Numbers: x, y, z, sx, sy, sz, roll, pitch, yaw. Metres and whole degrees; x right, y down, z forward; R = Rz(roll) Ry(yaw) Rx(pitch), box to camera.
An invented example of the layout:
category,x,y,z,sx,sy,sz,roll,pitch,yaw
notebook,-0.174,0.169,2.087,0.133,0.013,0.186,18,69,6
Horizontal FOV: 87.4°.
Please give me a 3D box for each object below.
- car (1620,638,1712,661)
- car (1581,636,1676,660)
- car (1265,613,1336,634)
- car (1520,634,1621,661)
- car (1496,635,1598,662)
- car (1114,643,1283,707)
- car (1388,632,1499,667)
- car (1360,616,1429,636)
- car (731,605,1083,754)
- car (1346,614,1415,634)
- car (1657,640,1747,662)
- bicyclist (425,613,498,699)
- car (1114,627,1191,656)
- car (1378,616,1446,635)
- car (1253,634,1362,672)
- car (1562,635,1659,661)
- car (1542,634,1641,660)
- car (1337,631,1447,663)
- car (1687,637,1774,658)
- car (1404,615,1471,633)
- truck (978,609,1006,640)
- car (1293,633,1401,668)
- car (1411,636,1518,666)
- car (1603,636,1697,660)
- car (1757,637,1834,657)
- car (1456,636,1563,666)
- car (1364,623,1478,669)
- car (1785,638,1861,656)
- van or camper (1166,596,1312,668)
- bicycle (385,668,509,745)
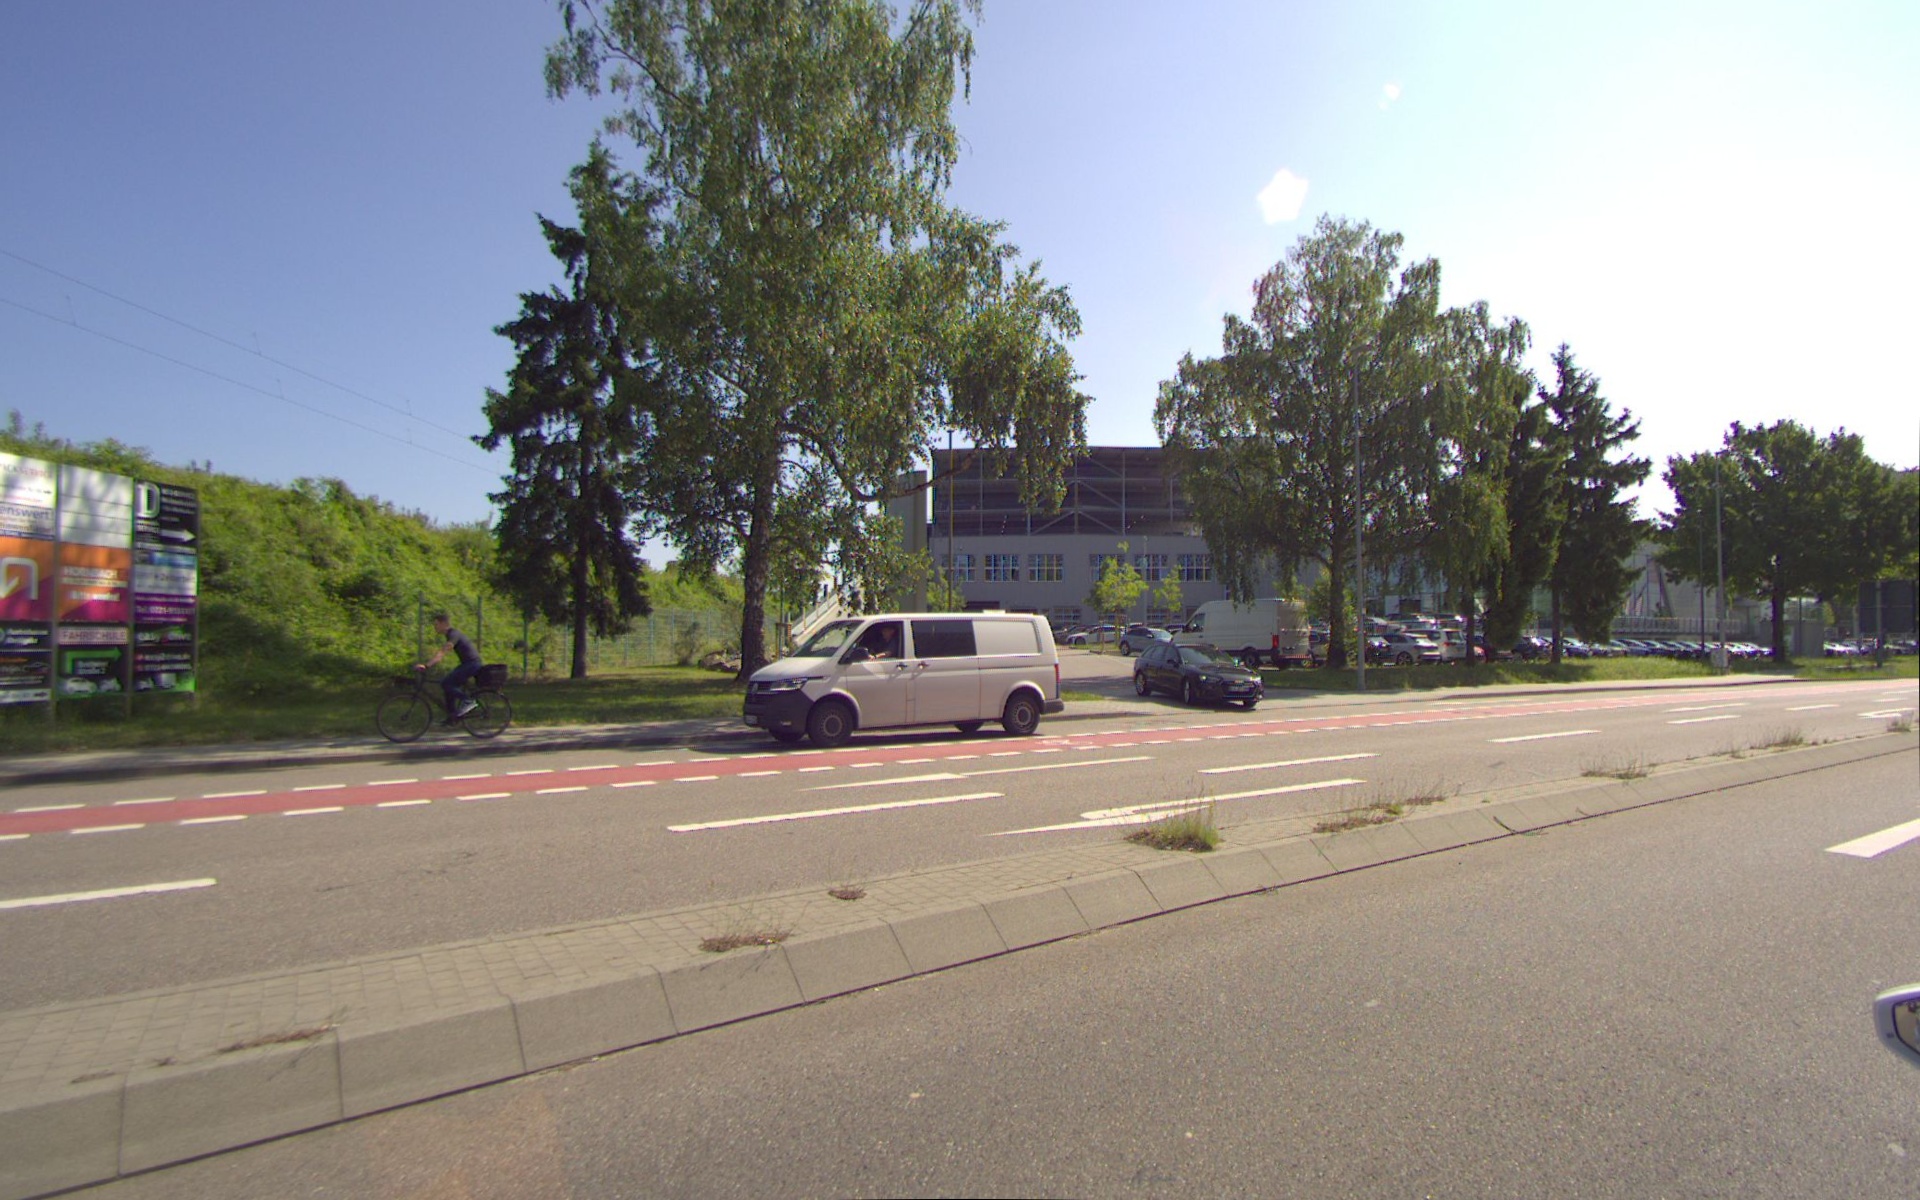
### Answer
category,x,y,z,sx,sy,sz,roll,pitch,yaw
car,43.479,3.025,61.968,1.932,1.368,4.245,1,-2,-31
car,38.940,2.770,58.600,1.932,1.368,4.245,1,-2,-31
car,22.705,1.597,67.131,1.933,1.368,4.243,1,-2,-32
car,32.890,2.538,54.210,1.932,1.368,4.245,1,-2,-31
car,30.825,2.538,52.895,1.932,1.368,4.245,1,-2,-31
car,5.825,1.786,25.181,1.969,1.432,4.663,1,-2,-18
car,22.067,2.247,46.019,1.932,1.523,4.245,1,-2,-31
car,31.581,1.908,73.078,1.933,1.368,4.243,1,-2,-32
car,-0.774,1.159,15.977,5.282,2.040,1.985,1,-3,-30
car,29.854,1.751,71.406,1.933,1.368,4.243,1,-2,-32
car,47.804,3.243,64.796,1.932,1.368,4.245,1,-2,-31
bicyclist,-7.399,0.822,14.916,0.939,1.244,0.631,1,-2,-30
car,9.763,2.112,51.200,1.722,1.372,4.072,1,-3,-28
car,33.621,1.897,74.766,1.933,1.368,4.243,1,-2,-32
car,13.952,2.098,40.530,1.722,1.457,4.071,1,-2,-28
car,37.055,2.713,57.279,1.932,1.368,4.245,1,-2,-31
car,35.020,2.579,55.826,1.932,1.368,4.245,1,-2,-31
car,18.390,1.986,42.907,1.724,1.310,4.067,1,-2,-31
car,51.539,3.158,67.284,1.932,1.368,4.245,1,-2,-31
car,35.980,1.832,75.807,1.933,1.368,4.243,1,-2,-32
truck,3.183,2.453,98.603,2.613,2.955,8.467,0,-2,2
car,15.983,2.092,41.708,1.722,1.372,4.071,2,-3,-28
car,24.136,2.410,48.180,1.932,1.345,4.245,1,-2,-31
car,41.248,2.868,60.142,1.932,1.368,4.245,1,-2,-31
car,61.295,3.433,73.769,1.979,1.394,3.964,1,-3,-33
car,26.958,2.499,49.424,1.932,1.399,4.245,1,-2,-31
car,20.354,2.007,44.479,1.932,1.909,4.245,1,-2,-31
car,66.126,3.588,76.995,2.004,1.394,4.019,1,-3,-33
van or camper,10.496,1.117,38.205,1.980,2.504,5.342,0,1,-35
bicycle,-7.557,1.551,14.833,1.596,1.041,0.444,1,-2,-30
